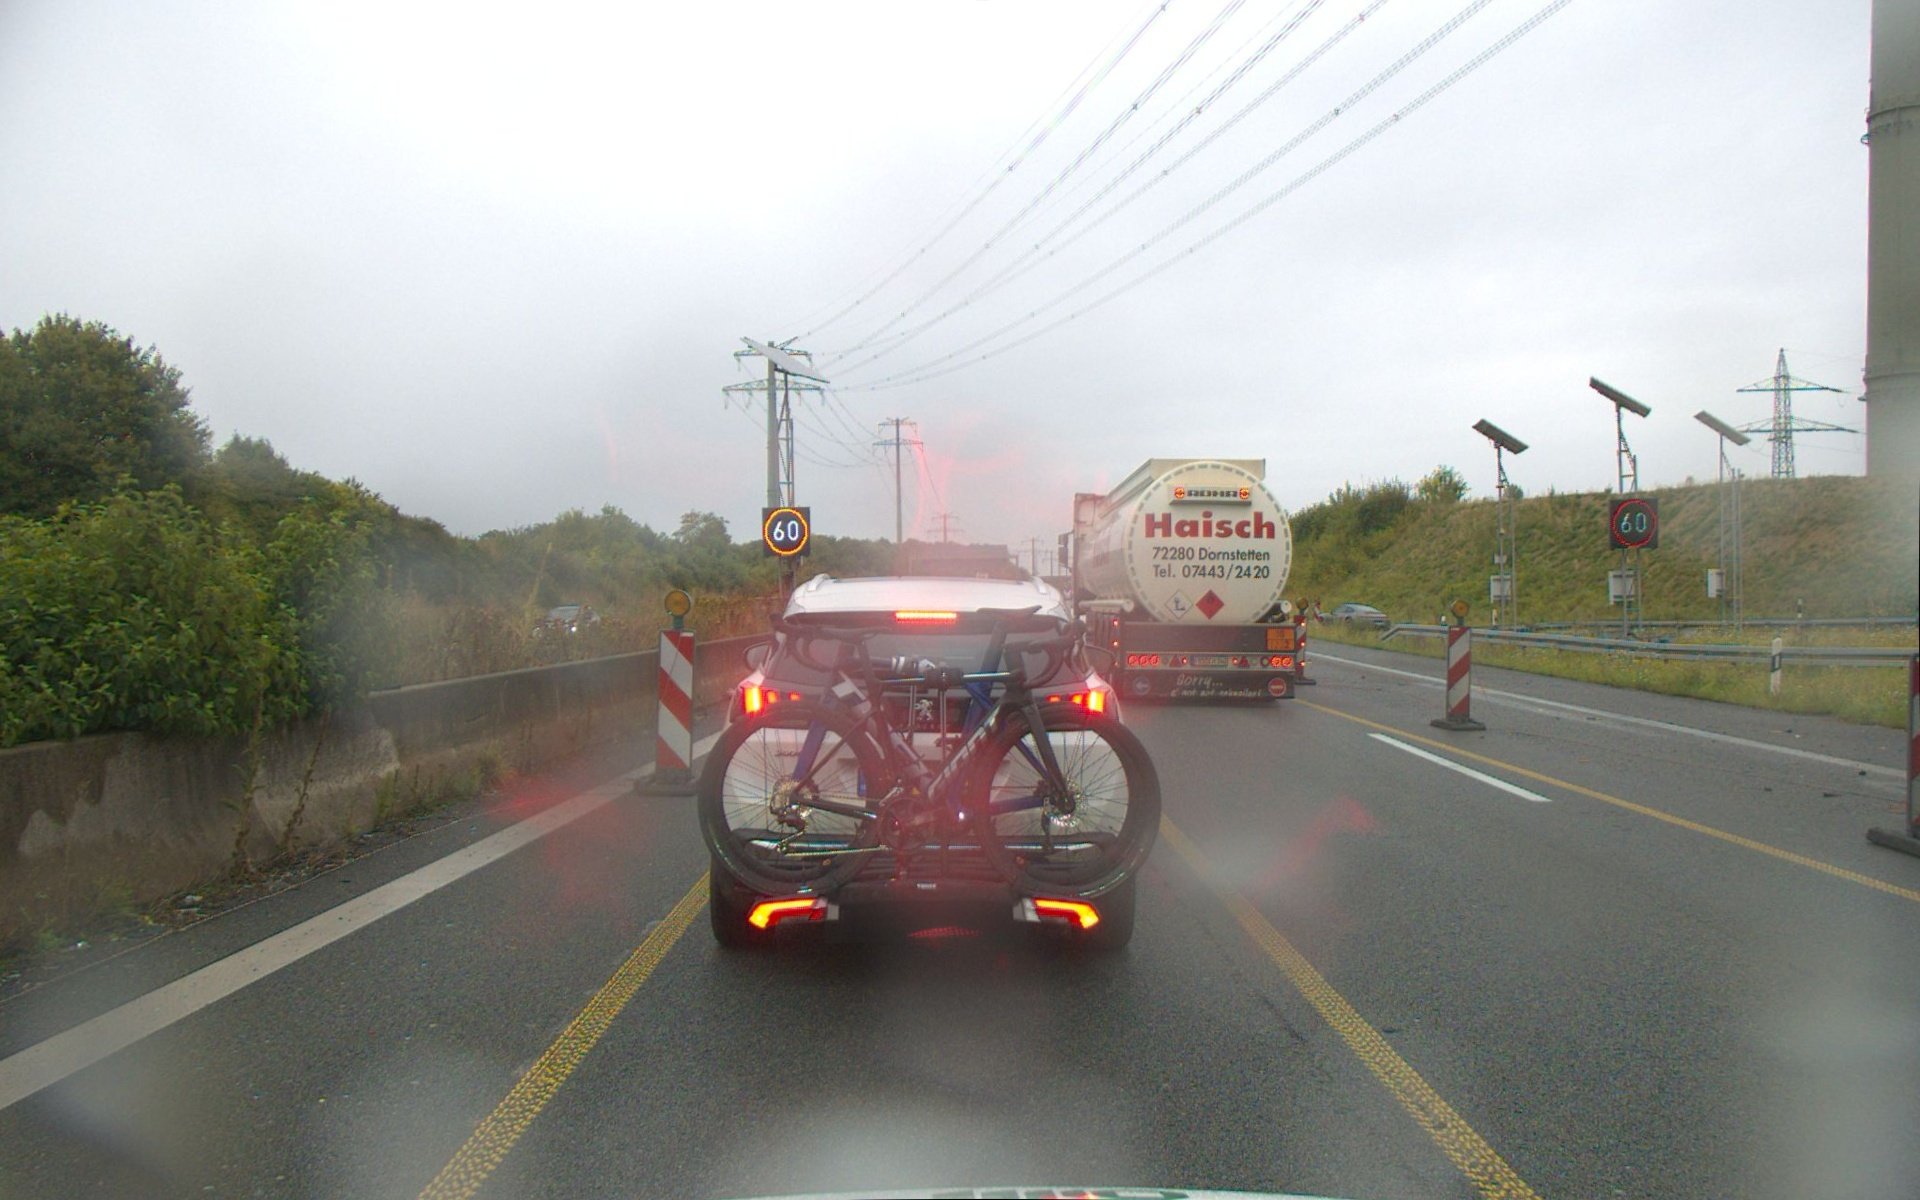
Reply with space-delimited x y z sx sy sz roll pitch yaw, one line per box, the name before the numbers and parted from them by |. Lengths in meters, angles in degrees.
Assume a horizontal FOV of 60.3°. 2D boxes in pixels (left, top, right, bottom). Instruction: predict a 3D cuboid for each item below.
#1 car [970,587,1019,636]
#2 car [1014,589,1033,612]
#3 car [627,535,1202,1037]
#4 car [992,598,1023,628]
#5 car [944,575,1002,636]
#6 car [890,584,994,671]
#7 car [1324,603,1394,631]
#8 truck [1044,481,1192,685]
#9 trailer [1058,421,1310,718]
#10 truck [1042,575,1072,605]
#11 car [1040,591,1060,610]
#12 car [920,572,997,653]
car | 1.451 0.498 71.706 1.953 2.049 3.999 1 -1 -1
car | 5.532 0.036 144.094 1.619 2.049 4.002 0 0 3
car | -0.092 0.603 7.759 1.888 1.639 4.596 0 0 1
car | 3.342 0.932 116.658 1.953 2.049 3.999 1 -1 -1
car | 0.430 0.178 58.704 1.953 2.049 4.000 -1 1 -1
car | -0.369 0.507 32.991 1.953 1.611 3.999 0 0 -1
car | 17.710 0.729 73.529 1.457 1.181 3.894 -2 0 -13
truck | 3.204 -0.322 34.402 2.591 3.959 4.029 1 -1 -1
trailer | 3.341 -0.372 27.636 2.584 3.961 10.541 1 0 -1
truck | 13.160 -1.357 225.847 3.654 3.889 11.869 0 0 1
car | 9.775 0.061 180.033 1.953 2.049 3.999 1 -1 -1
car | -0.056 0.305 44.918 1.953 2.049 3.999 -1 0 -1
